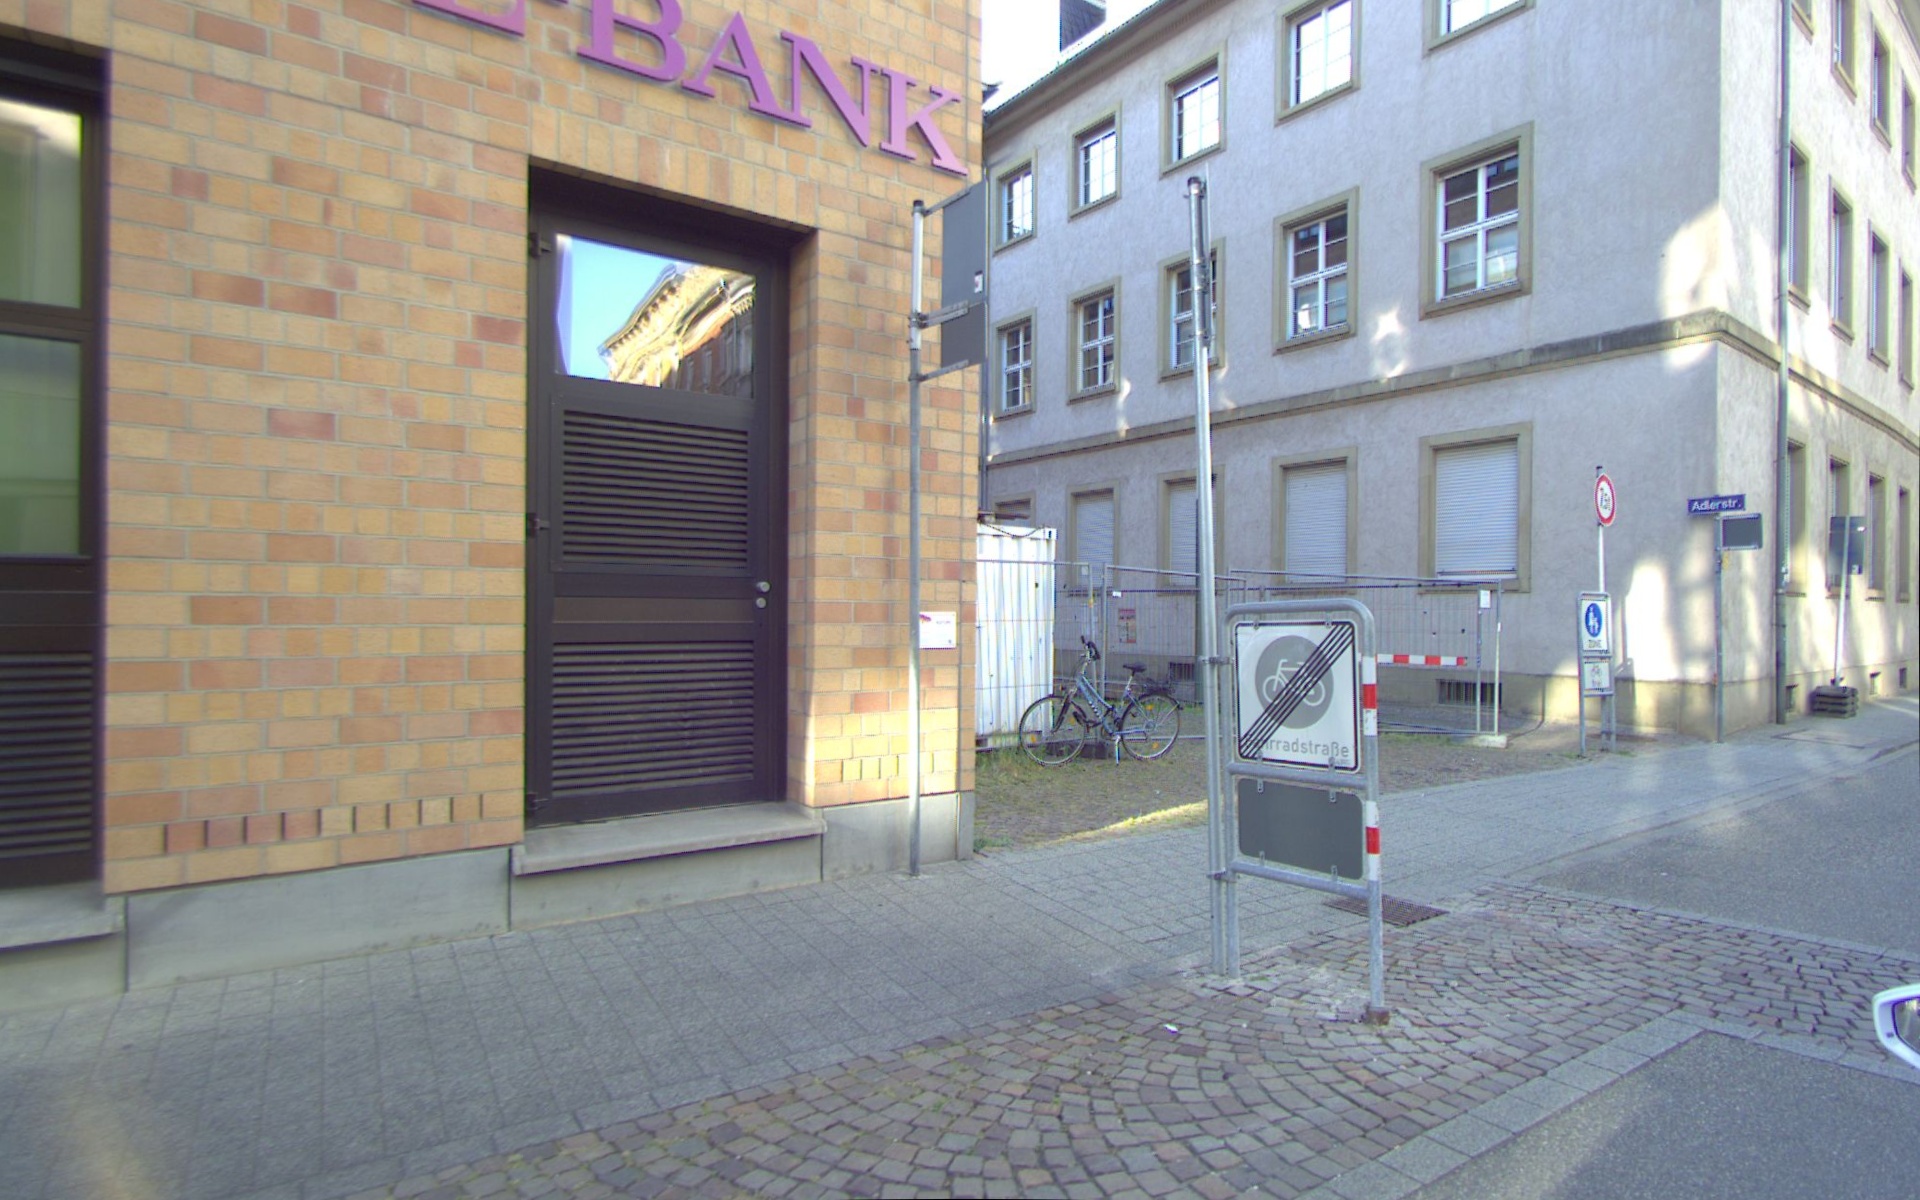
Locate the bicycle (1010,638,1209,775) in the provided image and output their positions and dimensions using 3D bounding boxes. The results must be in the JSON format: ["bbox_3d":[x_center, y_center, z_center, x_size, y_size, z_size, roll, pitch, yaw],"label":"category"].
[{"bbox_3d":[1.456,1.002,9.851,1.745,1.217,0.808,1,1,-17],"label":"bicycle"}]
